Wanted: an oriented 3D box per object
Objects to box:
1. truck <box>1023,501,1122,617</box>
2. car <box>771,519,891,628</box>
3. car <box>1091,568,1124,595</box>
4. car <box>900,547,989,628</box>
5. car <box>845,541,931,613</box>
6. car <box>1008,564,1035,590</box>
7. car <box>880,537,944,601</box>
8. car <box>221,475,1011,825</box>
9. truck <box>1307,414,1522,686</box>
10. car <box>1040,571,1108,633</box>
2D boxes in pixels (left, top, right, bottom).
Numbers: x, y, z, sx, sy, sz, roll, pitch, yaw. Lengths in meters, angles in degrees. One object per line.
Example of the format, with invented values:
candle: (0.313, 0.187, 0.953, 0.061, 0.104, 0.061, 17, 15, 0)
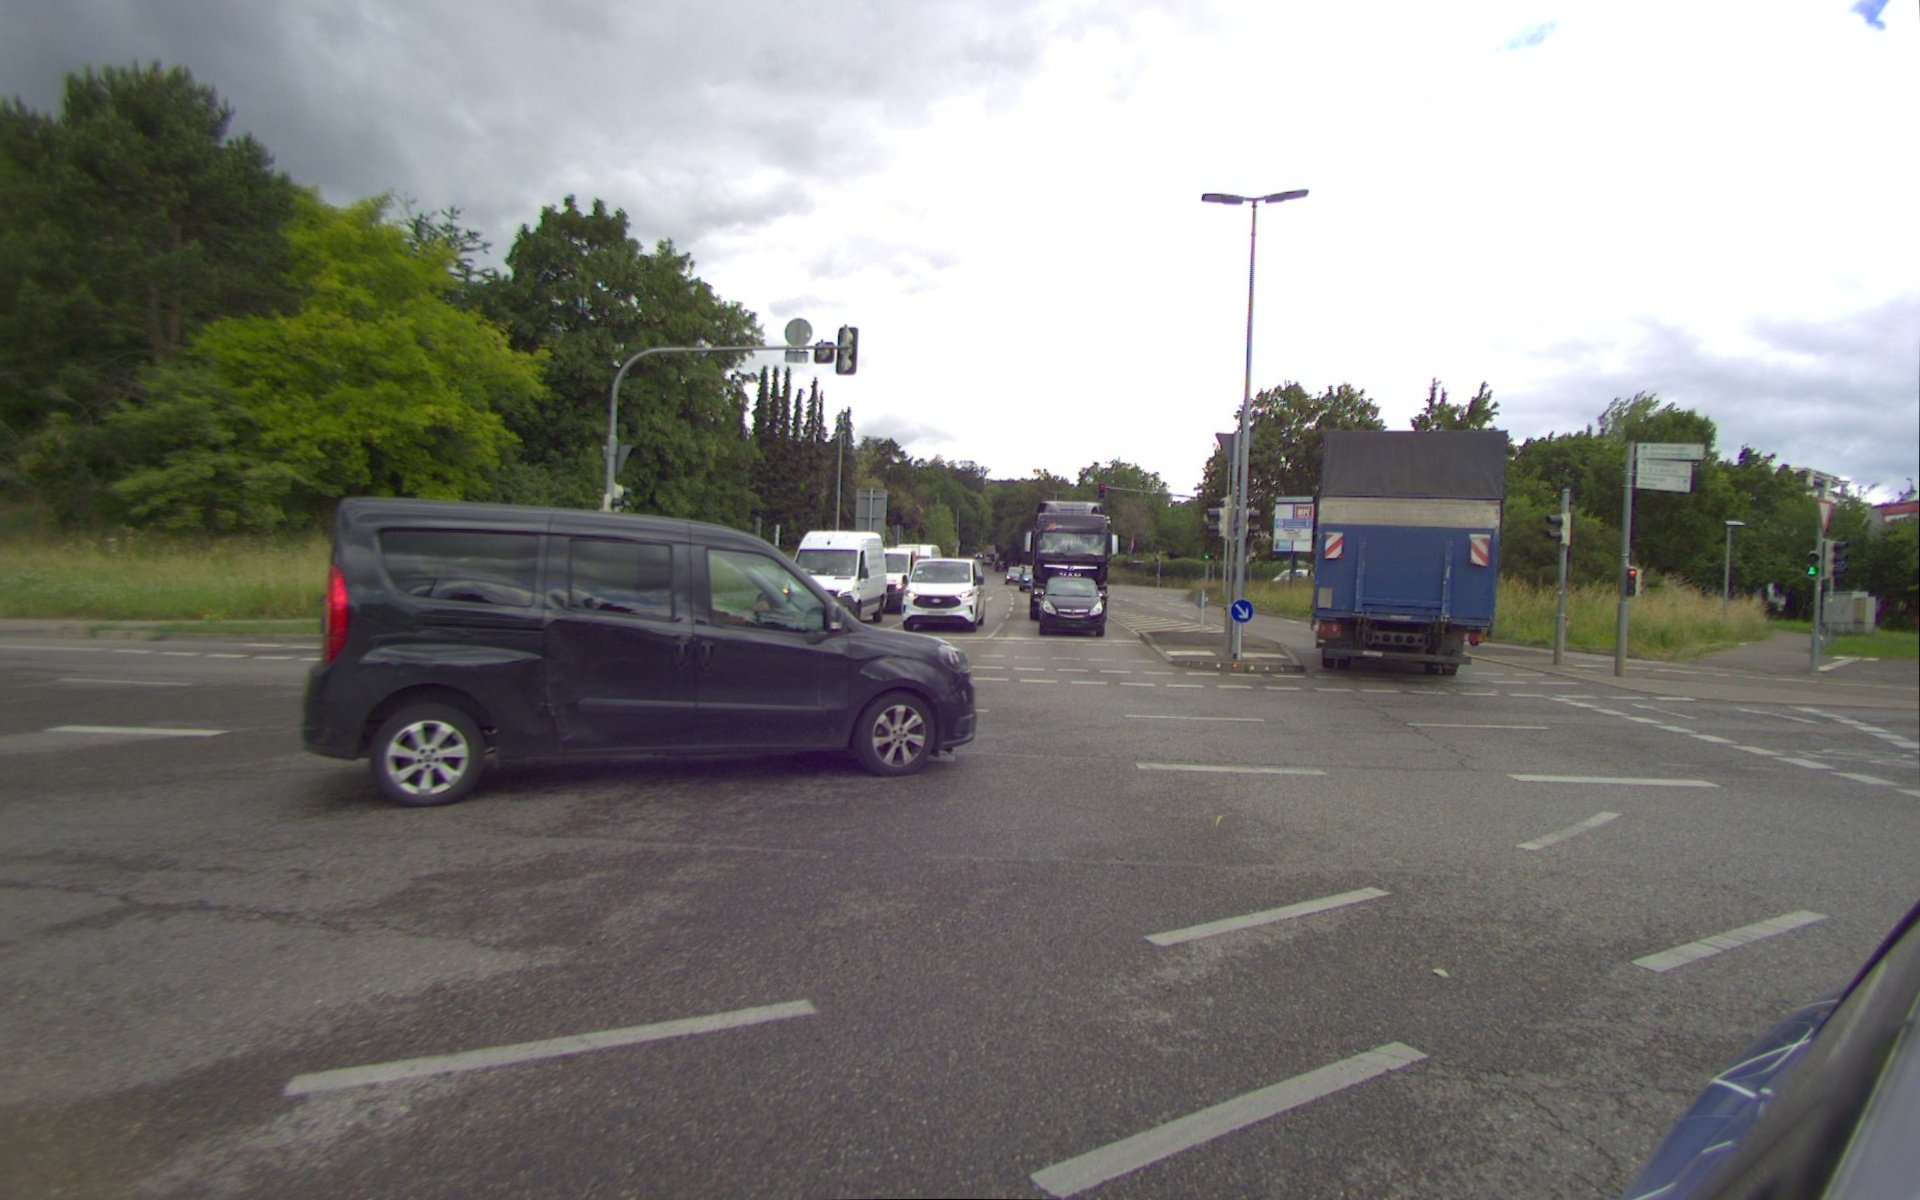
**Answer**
truck: (3.694, -1.361, 34.386, 3.019, 3.561, 5.955, 1, 1, 4)
car: (-3.454, -0.746, 28.353, 2.188, 2.691, 5.955, 1, 2, 4)
car: (9.107, -1.157, 62.665, 1.606, 1.595, 3.865, 2, 2, 2)
car: (-0.317, -0.378, 27.954, 2.082, 2.015, 4.984, 0, 1, 4)
car: (-2.540, -0.863, 37.238, 2.189, 2.415, 5.953, 1, 2, 5)
car: (5.145, -1.939, 85.020, 1.962, 2.047, 4.001, 2, 1, 0)
car: (-2.132, -1.435, 47.409, 2.188, 2.754, 6.680, 1, 2, 4)
car: (-2.238, 0.268, 7.403, 4.789, 1.900, 2.004, 1, 1, -25)
truck: (8.000, -0.819, 18.744, 2.753, 3.851, 8.335, 2, 1, 20)
car: (2.933, -0.001, 26.502, 1.607, 1.460, 3.862, 2, 2, 5)
